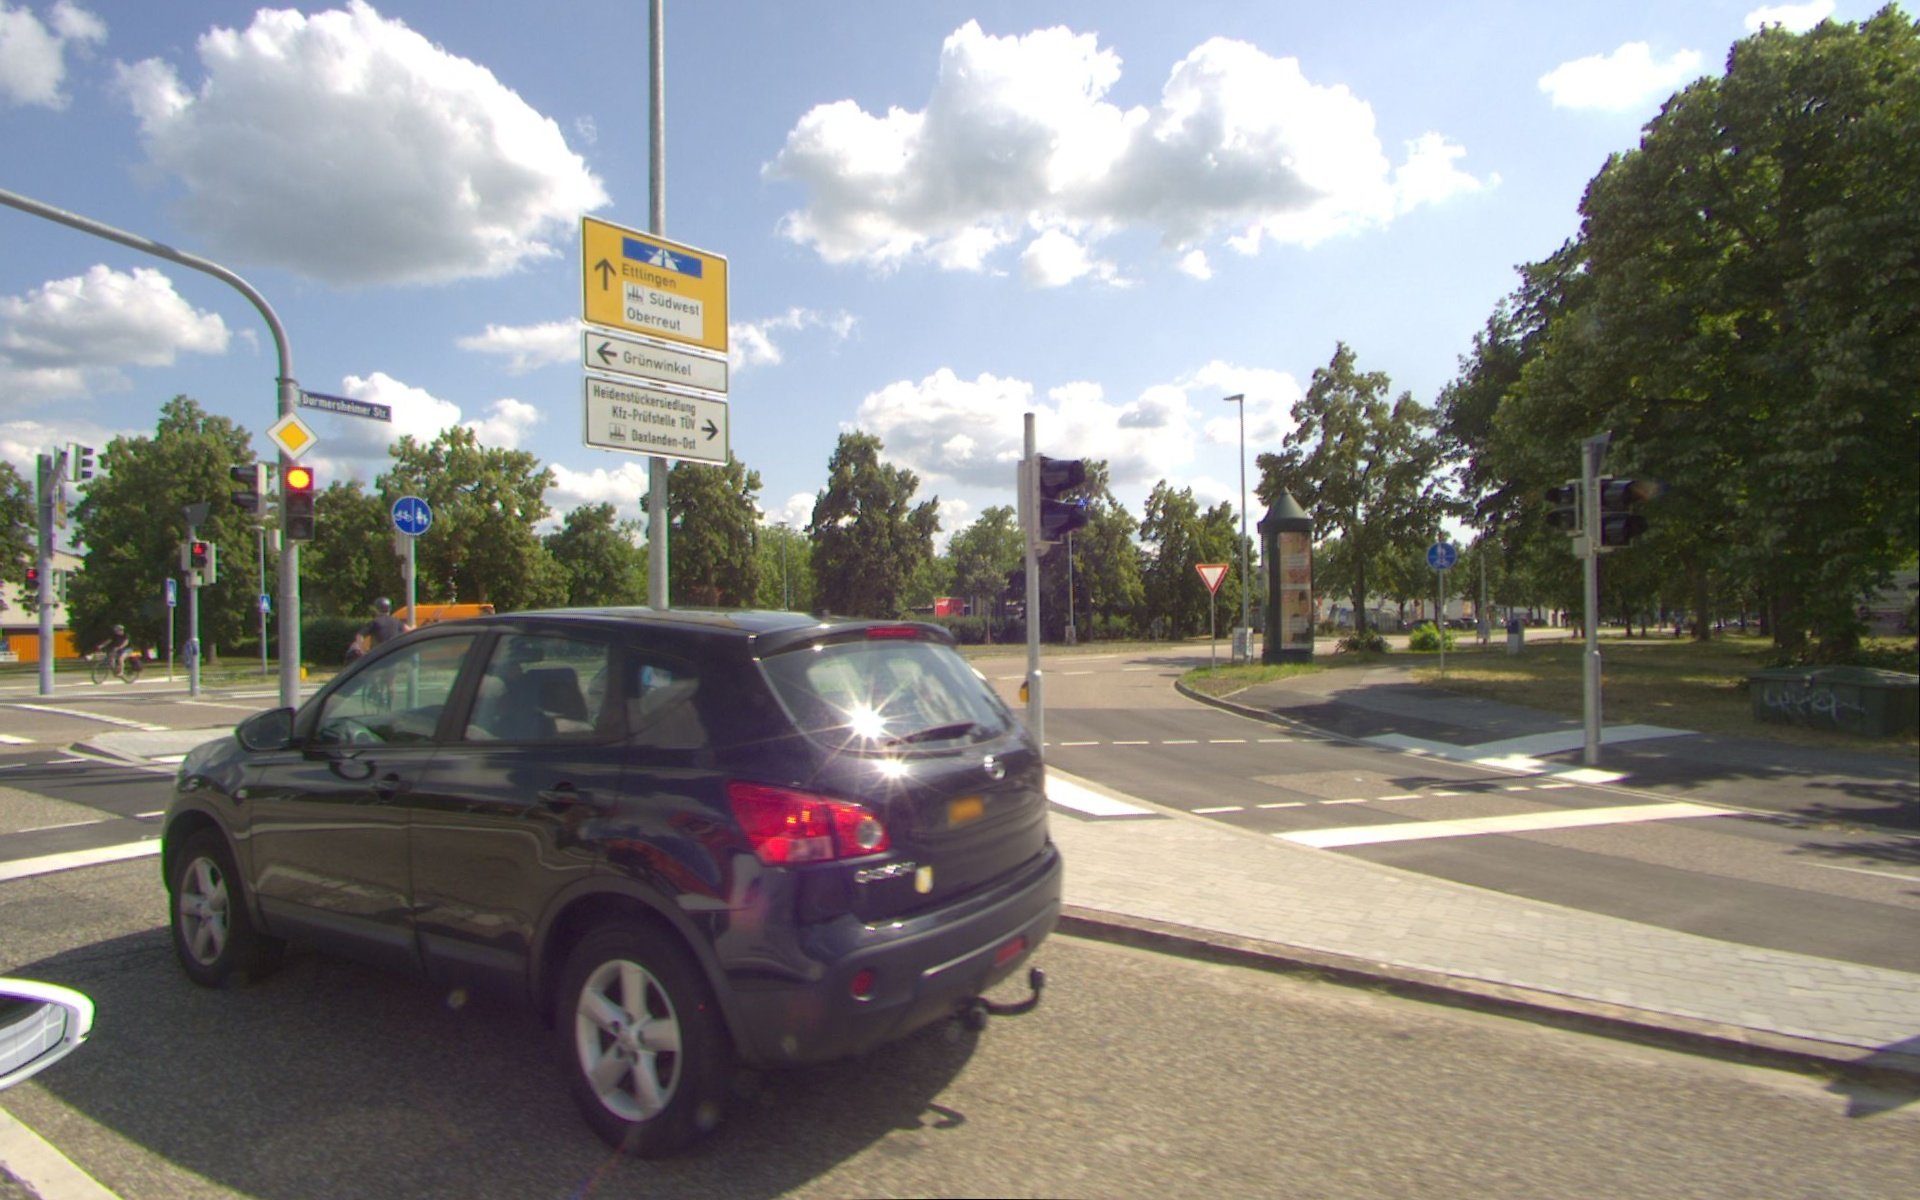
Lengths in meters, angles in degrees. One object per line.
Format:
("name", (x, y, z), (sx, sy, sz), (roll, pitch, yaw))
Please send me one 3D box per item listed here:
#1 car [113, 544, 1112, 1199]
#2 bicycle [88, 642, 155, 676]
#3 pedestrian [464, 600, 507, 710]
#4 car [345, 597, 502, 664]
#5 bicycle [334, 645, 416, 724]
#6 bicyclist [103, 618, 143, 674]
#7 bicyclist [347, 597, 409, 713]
("car", (-1.543, 0.758, 4.158), (3.942, 1.571, 1.798), (-2, -4, 31))
("bicycle", (-27.996, 1.956, 33.464), (0.672, 1.107, 2.004), (0, -2, -4))
("pedestrian", (-7.935, 0.928, 16.754), (0.477, 1.800, 0.462), (-2, -4, 42))
("car", (-19.274, 1.158, 36.286), (4.783, 2.253, 2.205), (2, -4, -24))
("bicycle", (-8.855, 1.255, 15.126), (0.644, 1.121, 1.910), (3, -4, -43))
("bicyclist", (-27.999, 1.530, 33.514), (0.672, 1.827, 0.789), (0, -1, -4))
("bicyclist", (-8.719, 0.831, 15.004), (0.644, 1.681, 0.644), (3, -4, -43))
